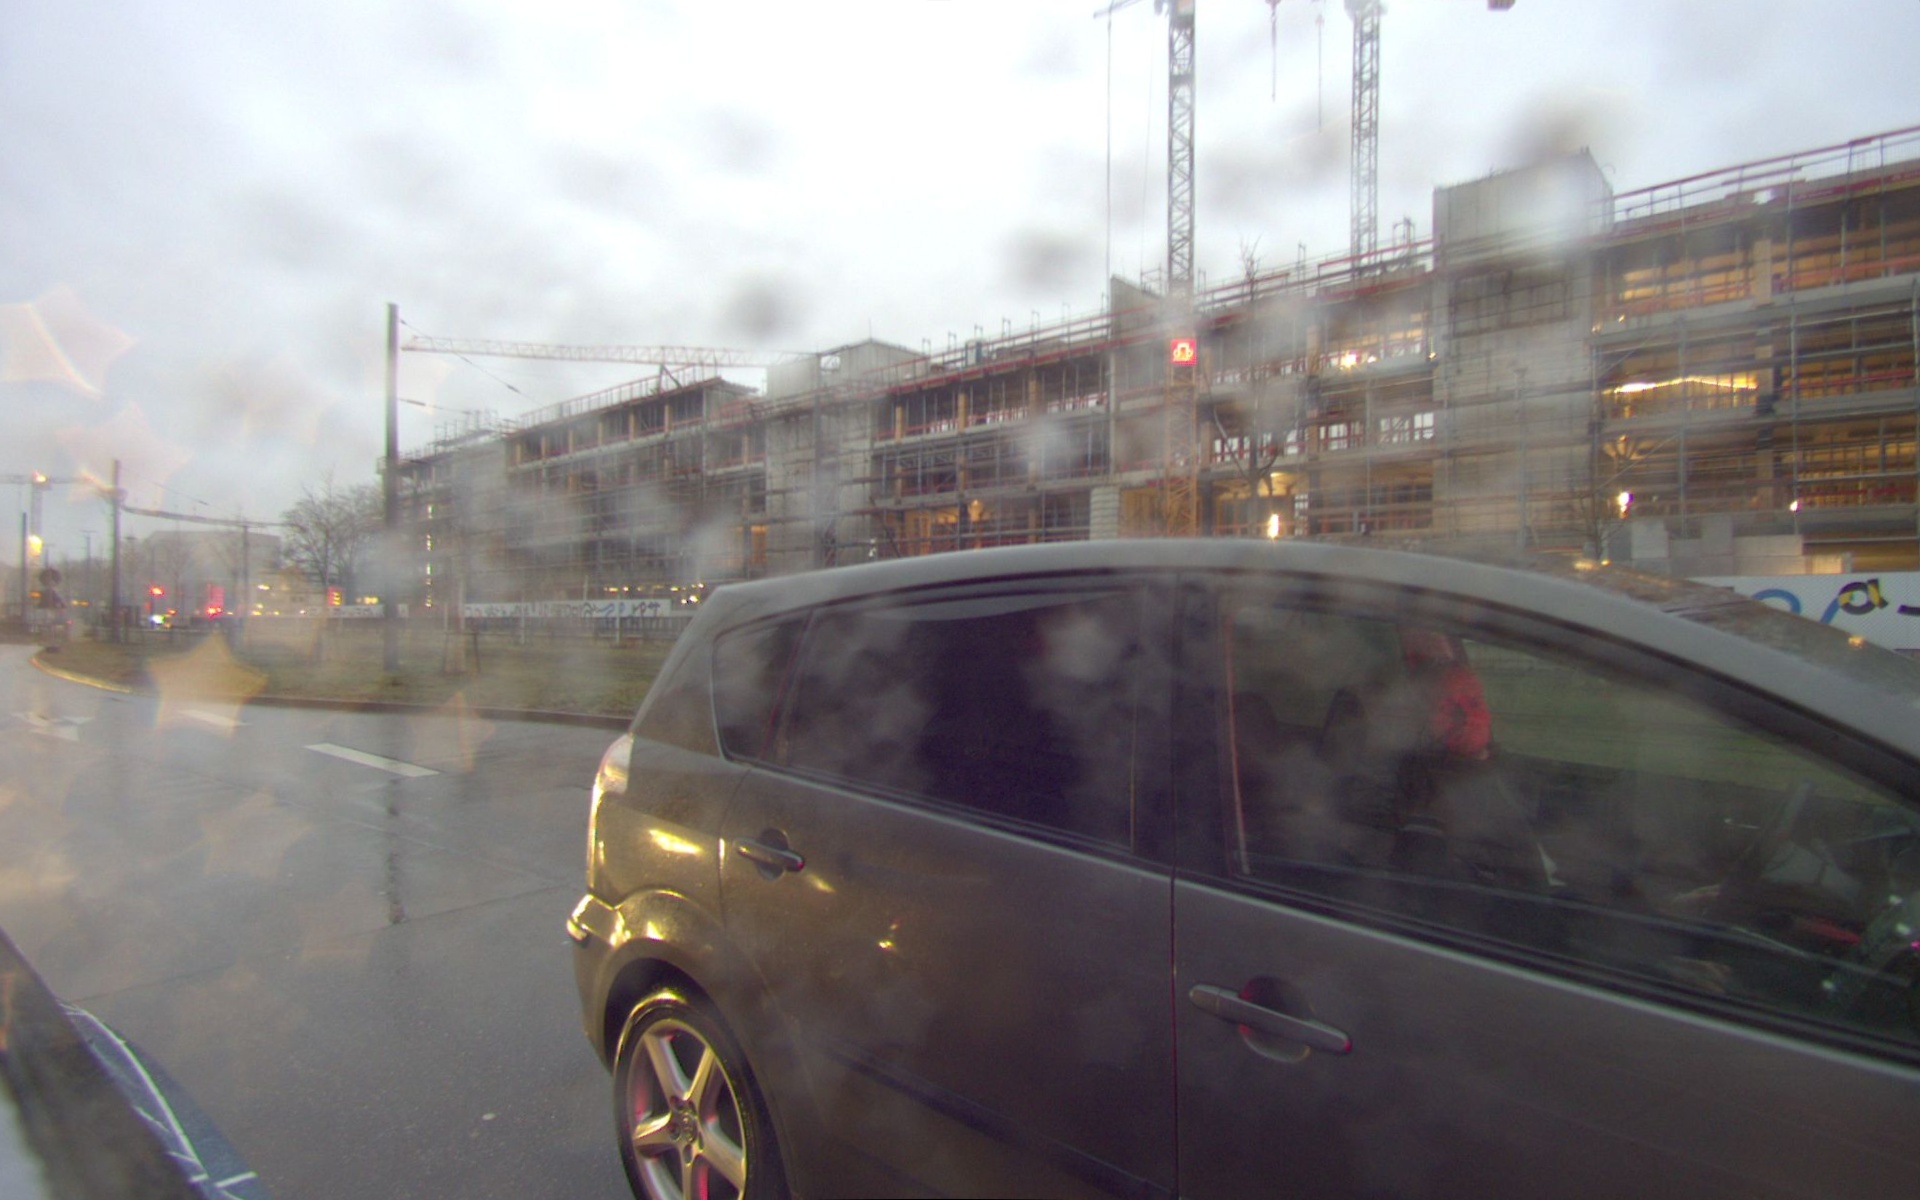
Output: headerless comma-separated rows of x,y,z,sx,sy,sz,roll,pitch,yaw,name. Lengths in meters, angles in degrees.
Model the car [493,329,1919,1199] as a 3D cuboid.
0.995,0.604,1.901,4.131,1.659,1.793,-1,-1,39,car
